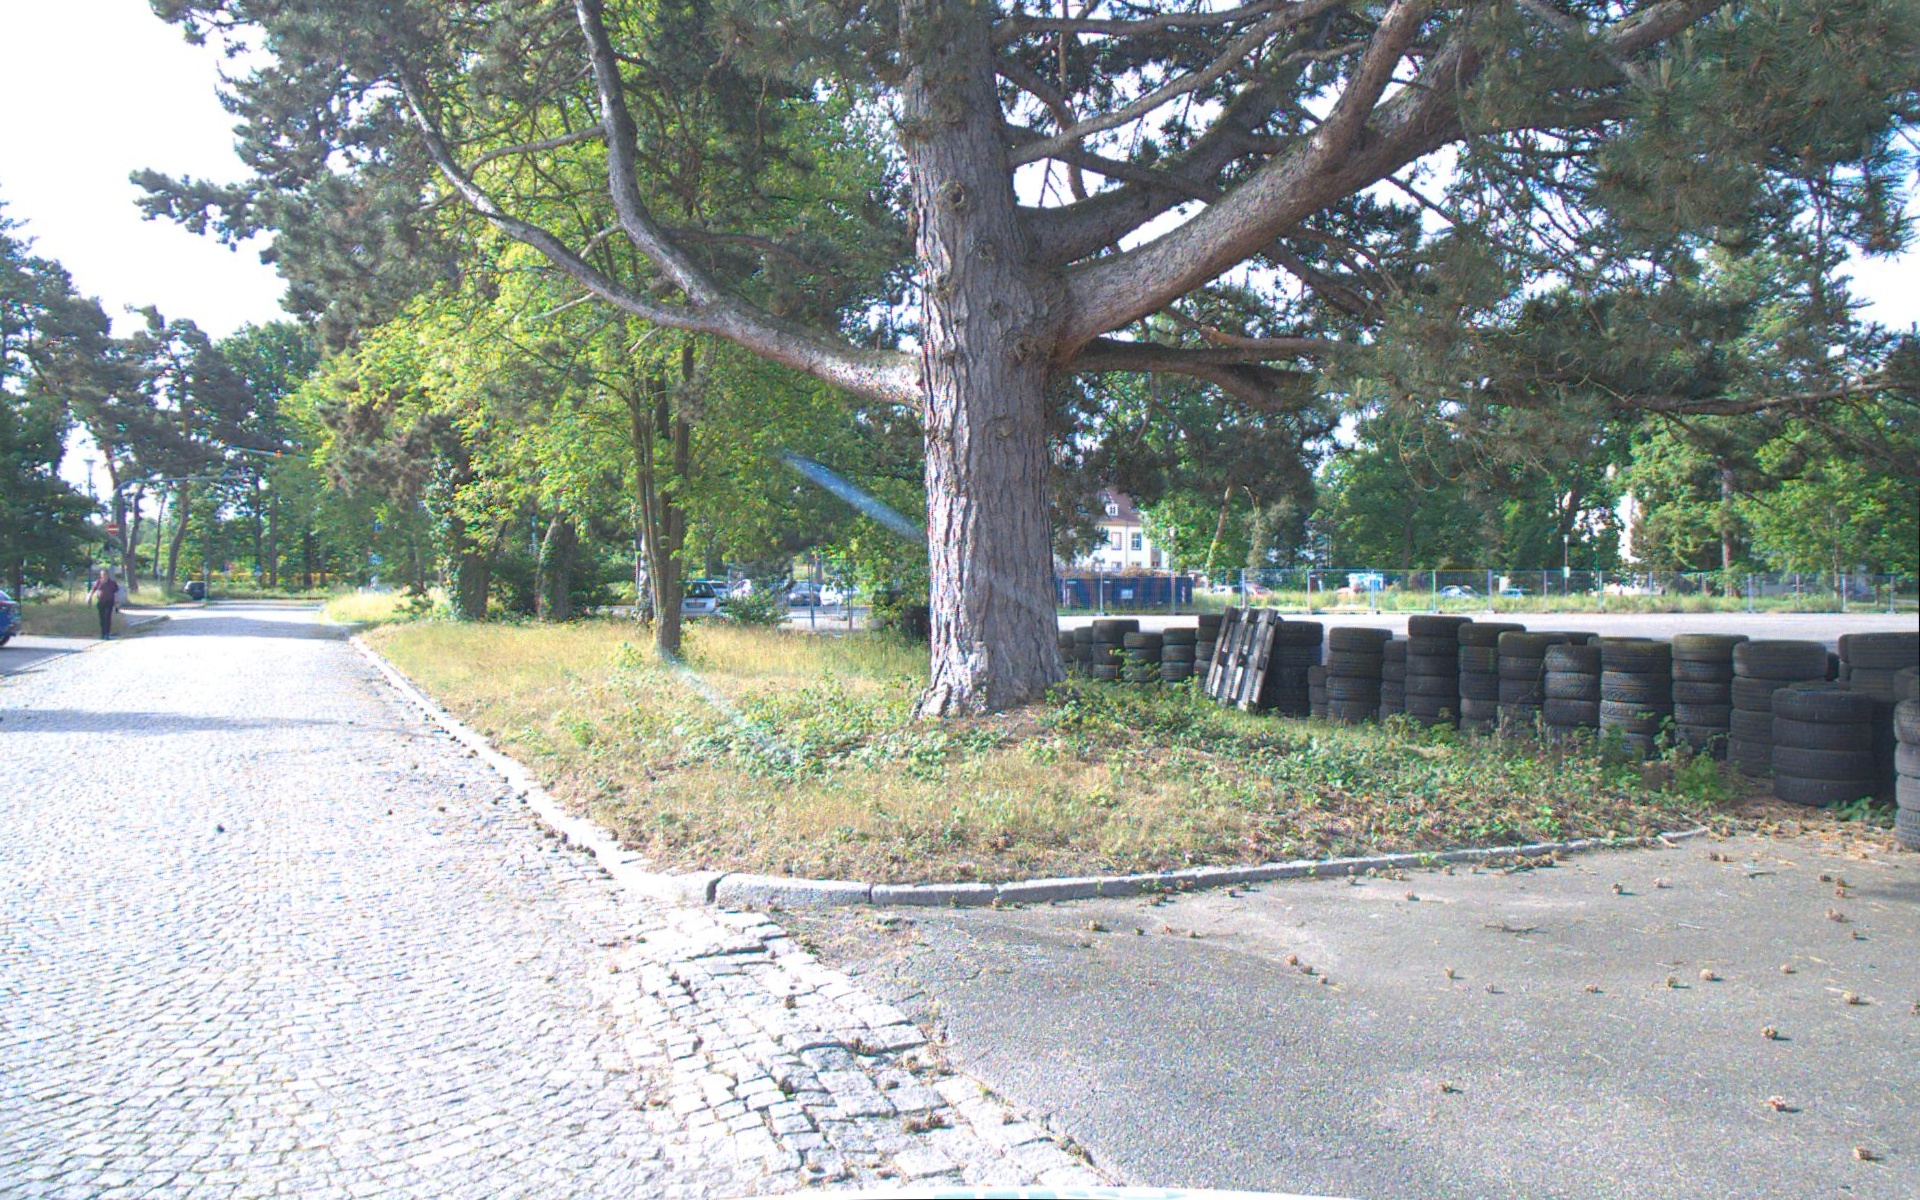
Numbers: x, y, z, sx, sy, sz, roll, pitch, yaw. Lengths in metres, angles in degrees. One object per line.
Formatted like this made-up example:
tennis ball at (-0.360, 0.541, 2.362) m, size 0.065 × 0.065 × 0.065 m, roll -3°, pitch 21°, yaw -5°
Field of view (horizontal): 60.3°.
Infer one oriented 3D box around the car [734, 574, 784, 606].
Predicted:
car at (-10.751, -0.555, 88.325) m, size 1.794 × 1.646 × 3.976 m, roll 0°, pitch 1°, yaw -20°

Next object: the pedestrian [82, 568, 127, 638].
pedestrian at (-23.159, 0.065, 44.769) m, size 0.949 × 1.876 × 0.943 m, roll 0°, pitch 0°, yaw -37°

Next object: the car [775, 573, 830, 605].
car at (-8.560, -0.604, 89.570) m, size 1.966 × 1.646 × 3.973 m, roll 0°, pitch 1°, yaw -22°

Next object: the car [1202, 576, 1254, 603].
car at (18.322, -0.730, 113.167) m, size 1.962 × 1.780 × 3.981 m, roll 0°, pitch 1°, yaw -17°

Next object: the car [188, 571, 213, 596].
car at (-61.926, -1.342, 134.955) m, size 1.674 × 2.049 × 3.973 m, roll 0°, pitch 1°, yaw -22°

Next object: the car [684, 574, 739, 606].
car at (-13.101, -0.549, 87.042) m, size 1.966 × 1.646 × 3.973 m, roll 0°, pitch 1°, yaw -22°

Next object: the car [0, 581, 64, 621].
car at (-40.249, 0.020, 71.723) m, size 1.966 × 1.646 × 3.973 m, roll 0°, pitch 1°, yaw -22°

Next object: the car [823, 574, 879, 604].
car at (-6.012, -0.624, 90.989) m, size 1.966 × 1.646 × 3.973 m, roll 0°, pitch 1°, yaw -22°

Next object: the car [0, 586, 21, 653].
car at (-22.761, 0.434, 36.944) m, size 3.049 × 1.475 × 1.478 m, roll 0°, pitch 1°, yaw -29°

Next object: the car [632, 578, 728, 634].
car at (-8.279, 0.135, 48.651) m, size 1.861 × 1.568 × 3.970 m, roll 0°, pitch 1°, yaw -24°

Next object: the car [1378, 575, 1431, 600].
car at (31.930, -0.885, 118.902) m, size 1.960 × 1.780 × 3.984 m, roll 0°, pitch 1°, yaw -15°
